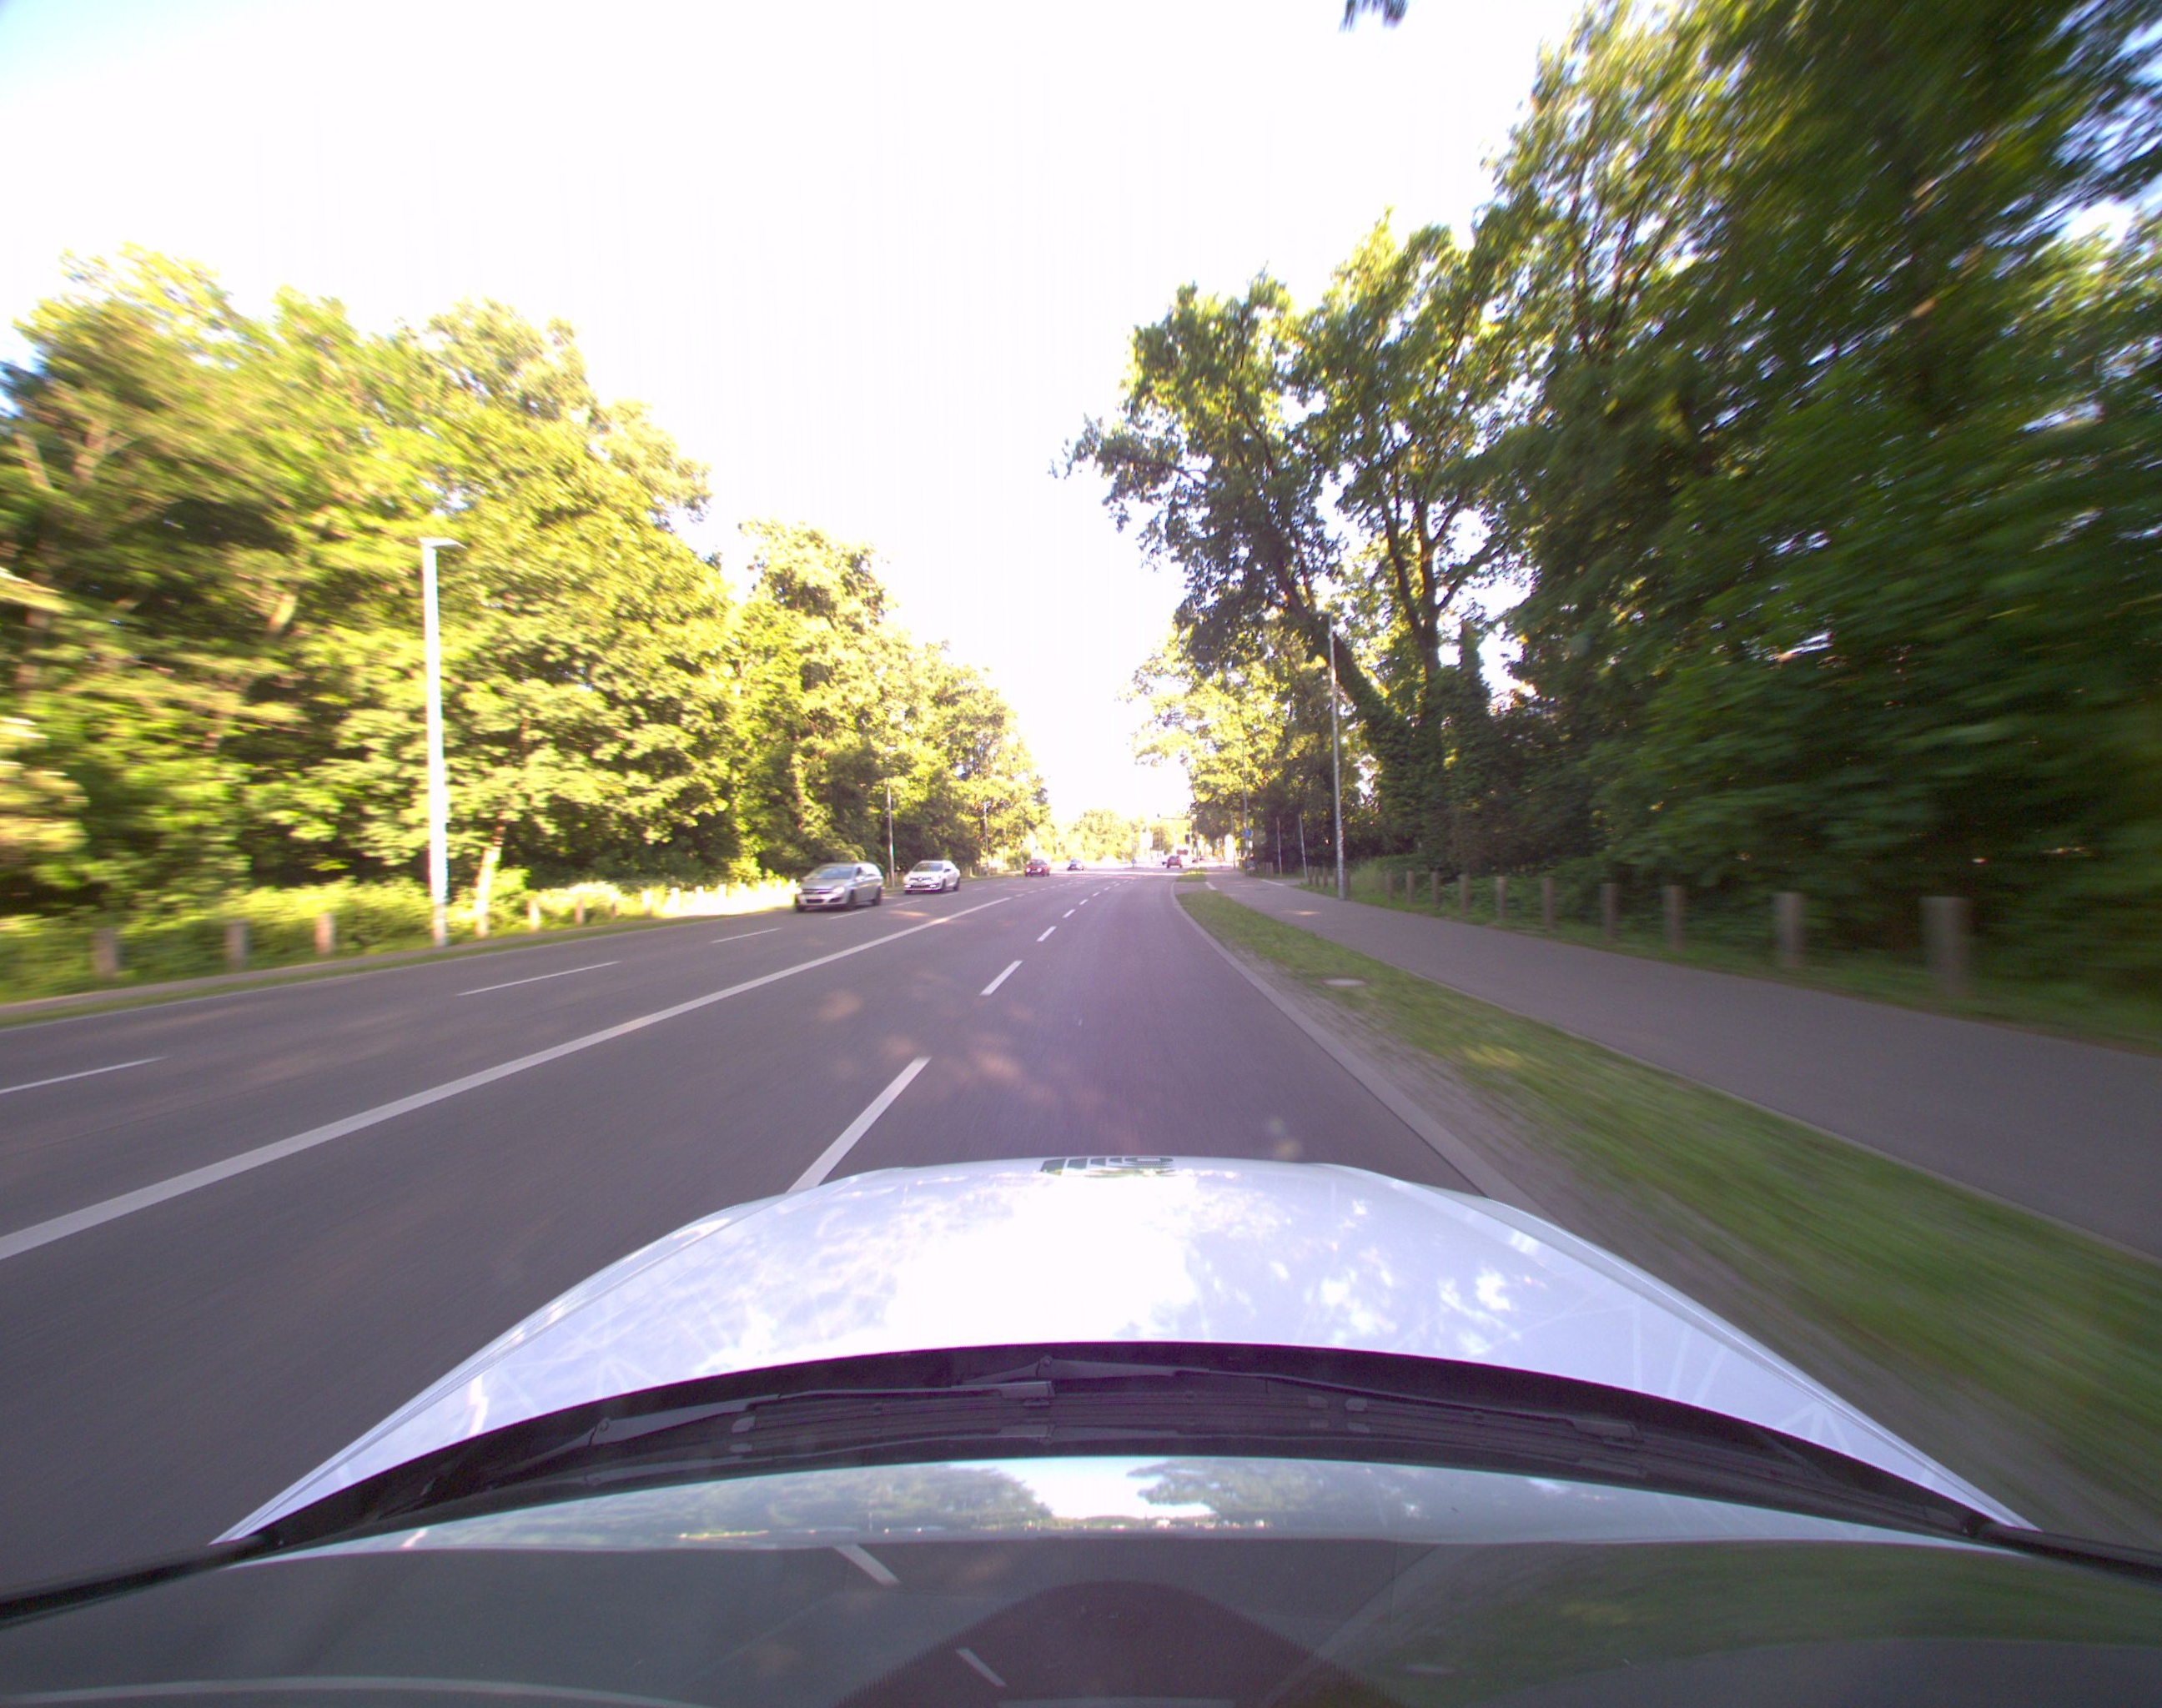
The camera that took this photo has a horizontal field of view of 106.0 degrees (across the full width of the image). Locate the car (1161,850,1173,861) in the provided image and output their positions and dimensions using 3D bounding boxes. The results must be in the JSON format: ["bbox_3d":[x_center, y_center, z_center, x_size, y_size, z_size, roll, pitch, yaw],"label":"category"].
[{"bbox_3d":[15.077,0.320,142.433,1.869,1.765,4.010,-2,0,8],"label":"car"}]

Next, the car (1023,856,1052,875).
[{"bbox_3d":[-3.622,0.938,69.071,1.653,1.518,3.816,-2,0,8],"label":"car"}]

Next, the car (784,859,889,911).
[{"bbox_3d":[-7.629,0.926,25.847,1.772,1.464,4.279,-1,0,4],"label":"car"}]

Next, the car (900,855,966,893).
[{"bbox_3d":[-6.686,0.876,37.264,1.774,1.522,4.405,-2,0,6],"label":"car"}]

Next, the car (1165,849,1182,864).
[{"bbox_3d":[11.649,0.322,102.577,1.869,1.765,4.010,-2,0,8],"label":"car"}]

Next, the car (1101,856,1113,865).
[{"bbox_3d":[4.304,1.002,134.126,1.702,1.464,4.107,0,0,6],"label":"car"}]

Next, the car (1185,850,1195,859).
[{"bbox_3d":[23.936,0.122,178.634,1.850,1.684,3.785,-3,0,12],"label":"car"}]

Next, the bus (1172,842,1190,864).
[{"bbox_3d":[15.913,-0.200,128.700,2.590,3.368,7.994,-1,0,8],"label":"bus"}]

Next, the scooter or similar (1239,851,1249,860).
[{"bbox_3d":[24.026,0.220,120.223,1.609,1.256,0.562,-2,-1,-43],"label":"scooter or similar"}]

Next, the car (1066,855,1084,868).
[{"bbox_3d":[-0.660,0.884,96.640,1.647,1.508,4.007,-2,0,6],"label":"car"}]
